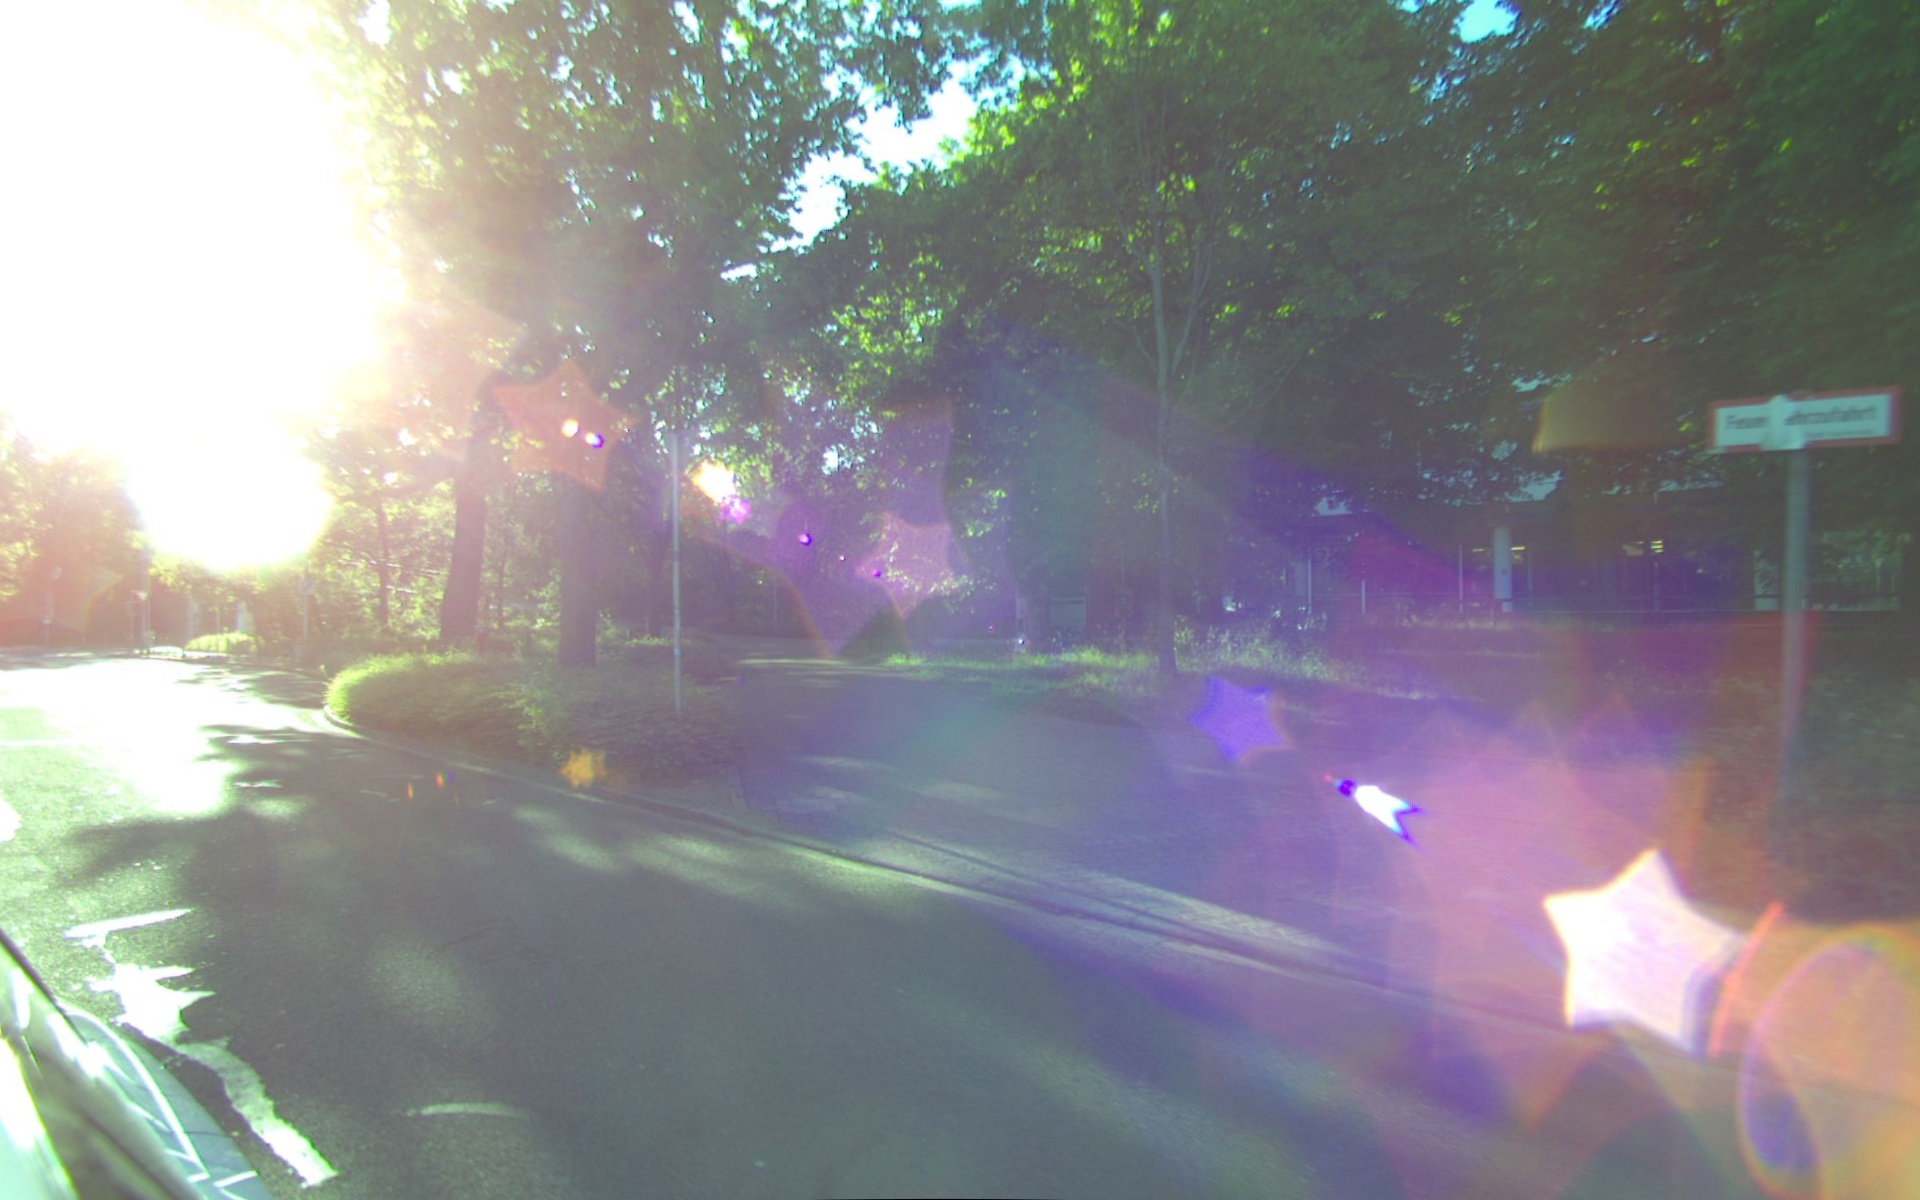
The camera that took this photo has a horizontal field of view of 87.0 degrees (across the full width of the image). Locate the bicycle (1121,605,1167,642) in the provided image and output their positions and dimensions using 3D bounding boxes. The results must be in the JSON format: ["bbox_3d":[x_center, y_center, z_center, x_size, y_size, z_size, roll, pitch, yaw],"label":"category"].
[{"bbox_3d":[5.799,0.724,32.108,0.528,1.079,2.435,-4,0,-11],"label":"bicycle"}]

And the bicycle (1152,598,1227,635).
[{"bbox_3d":[7.222,0.534,32.043,0.528,1.079,2.642,-6,1,-32],"label":"bicycle"}]
